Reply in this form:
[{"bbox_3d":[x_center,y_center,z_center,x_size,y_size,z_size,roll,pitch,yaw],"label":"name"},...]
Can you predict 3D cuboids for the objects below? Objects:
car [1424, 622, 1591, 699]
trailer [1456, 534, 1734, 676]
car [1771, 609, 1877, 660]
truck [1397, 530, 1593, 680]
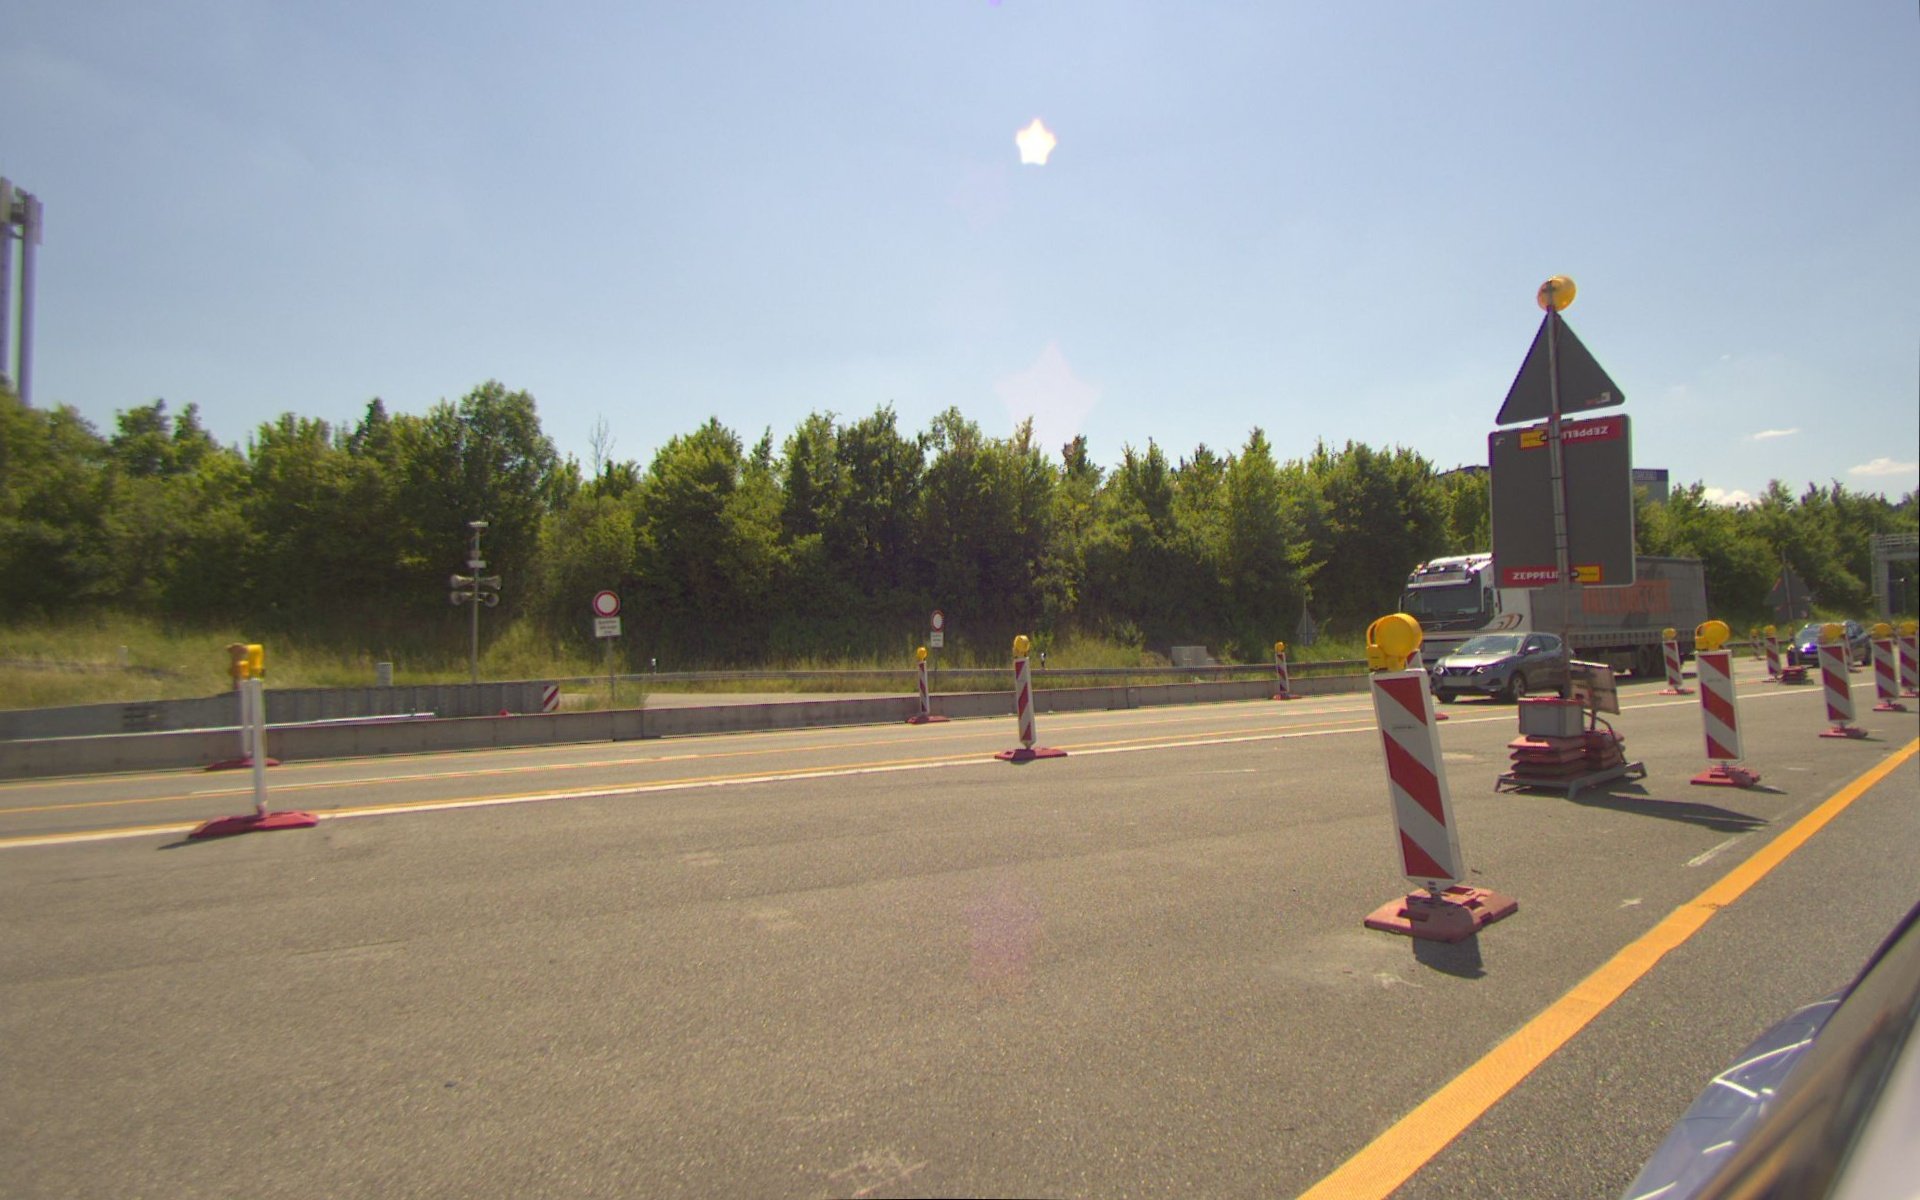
[{"bbox_3d":[12.731,1.375,23.469,3.954,1.573,1.710,-1,-4,-34],"label":"car"},{"bbox_3d":[21.514,0.224,33.686,13.605,4.005,2.547,0,-4,-35],"label":"trailer"},{"bbox_3d":[32.567,1.286,38.126,4.407,1.718,1.820,-1,-4,-34],"label":"car"},{"bbox_3d":[15.671,0.204,29.561,5.491,4.003,2.534,0,-4,-34],"label":"truck"}]
